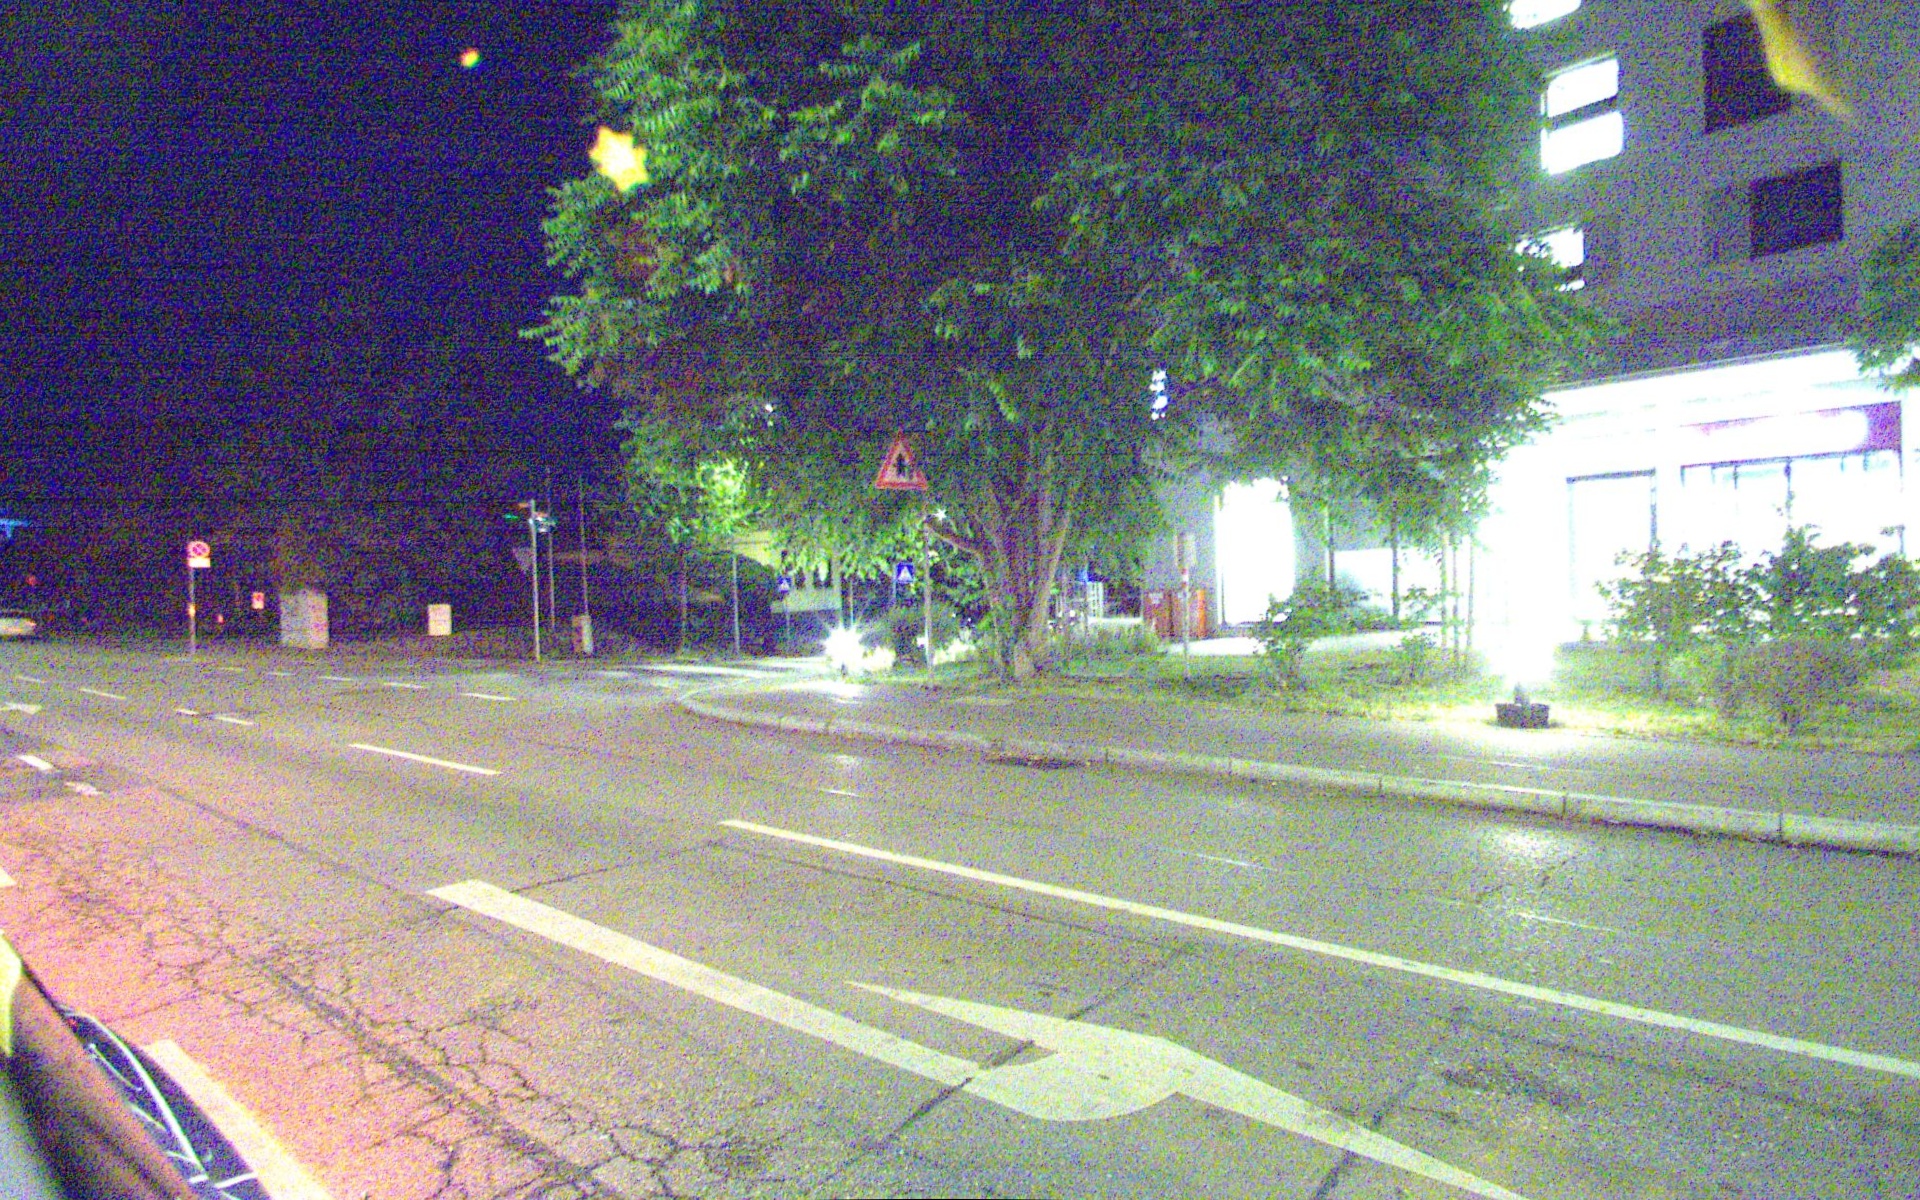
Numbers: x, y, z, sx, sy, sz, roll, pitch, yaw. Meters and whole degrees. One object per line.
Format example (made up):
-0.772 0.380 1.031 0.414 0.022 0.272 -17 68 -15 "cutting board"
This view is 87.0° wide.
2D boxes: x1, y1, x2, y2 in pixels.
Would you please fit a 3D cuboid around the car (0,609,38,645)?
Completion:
-43.263 1.184 45.776 3.998 1.464 1.887 1 2 41 "car"
